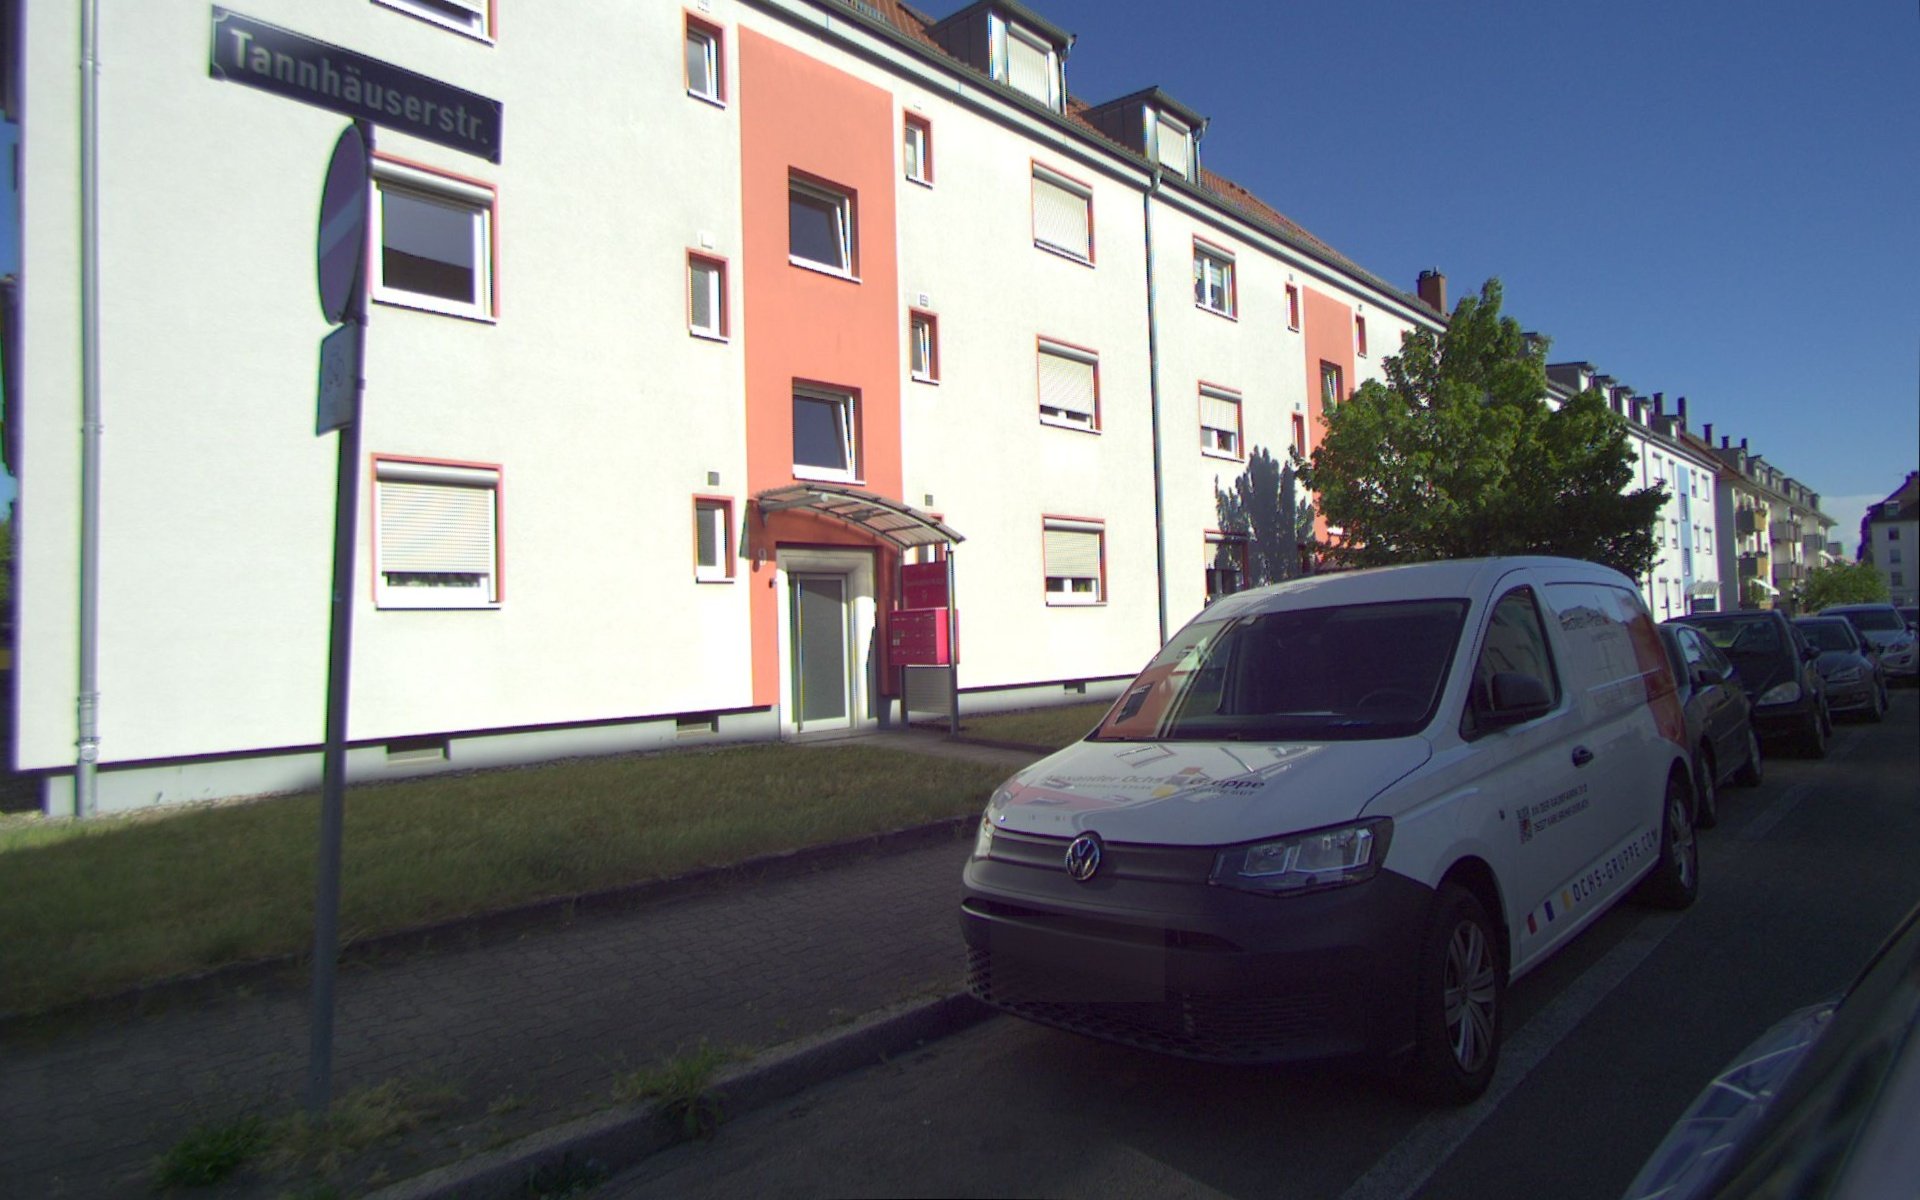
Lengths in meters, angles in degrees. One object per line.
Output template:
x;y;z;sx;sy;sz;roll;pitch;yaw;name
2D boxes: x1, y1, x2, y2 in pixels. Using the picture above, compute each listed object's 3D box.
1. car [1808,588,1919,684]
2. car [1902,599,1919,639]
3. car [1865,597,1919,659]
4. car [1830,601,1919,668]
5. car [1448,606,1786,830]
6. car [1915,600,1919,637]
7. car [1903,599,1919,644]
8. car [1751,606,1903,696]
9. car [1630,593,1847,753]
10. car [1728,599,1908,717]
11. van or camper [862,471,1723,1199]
18.868;0.706;20.815;1.774;1.742;4.239;-7;-5;44;car
39.886;0.729;41.384;3.974;1.591;1.705;0;-2;-44;car
26.621;0.733;28.184;4.350;1.627;1.728;0;-2;-44;car
22.598;0.819;24.720;3.794;1.468;1.617;0;-5;-45;car
5.625;0.831;8.476;1.572;1.436;3.727;-6;-4;44;car
44.102;0.782;45.314;3.974;1.591;1.705;0;-2;-44;car
35.617;0.733;36.770;3.812;1.591;1.705;0;-2;-44;car
15.235;0.835;17.730;3.430;1.412;1.629;0;-2;-43;car
9.169;0.786;11.815;1.615;1.571;3.556;-7;-5;42;car
12.385;0.786;14.521;1.628;1.469;3.888;-4;-4;44;car
1.946;0.591;4.736;4.655;1.770;1.793;0;-2;-44;van or camper
